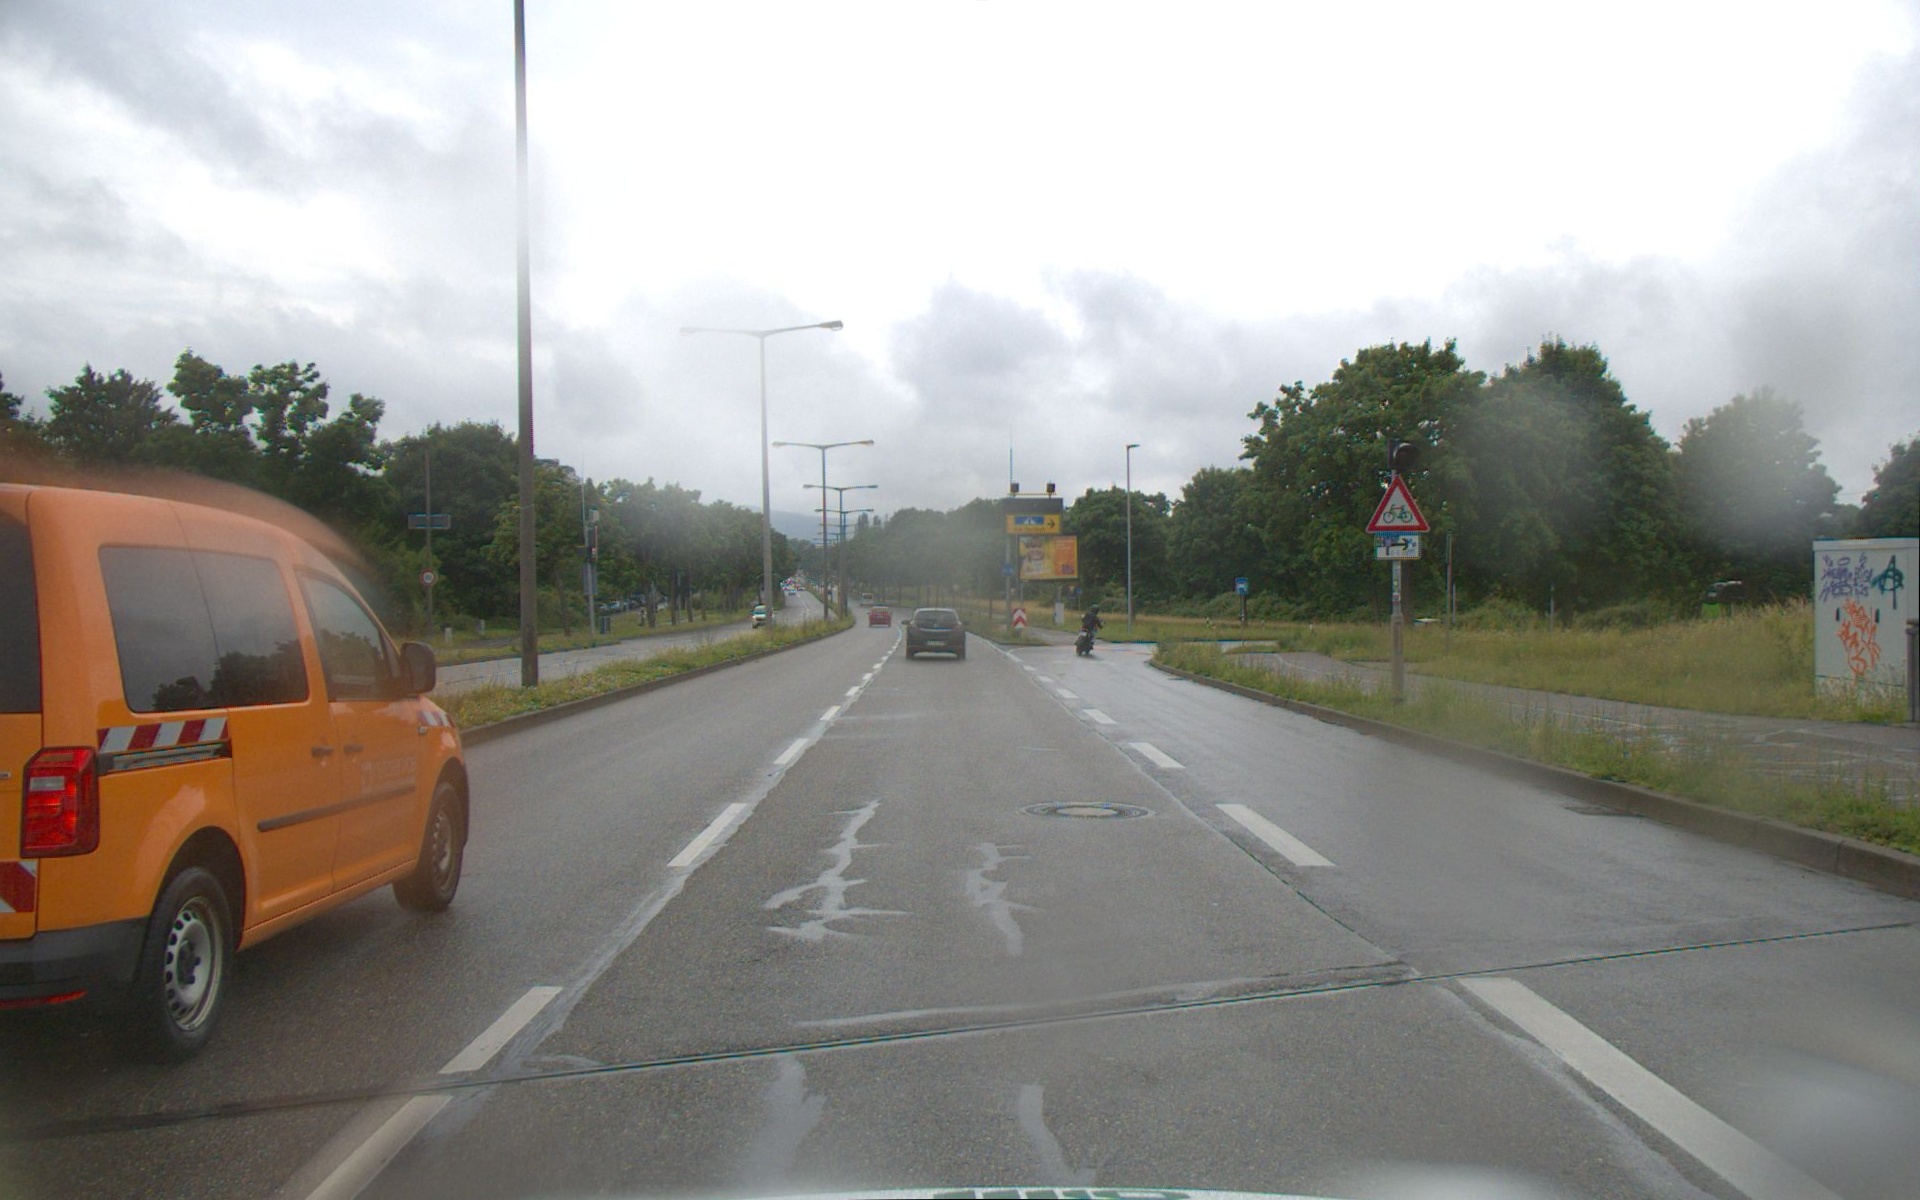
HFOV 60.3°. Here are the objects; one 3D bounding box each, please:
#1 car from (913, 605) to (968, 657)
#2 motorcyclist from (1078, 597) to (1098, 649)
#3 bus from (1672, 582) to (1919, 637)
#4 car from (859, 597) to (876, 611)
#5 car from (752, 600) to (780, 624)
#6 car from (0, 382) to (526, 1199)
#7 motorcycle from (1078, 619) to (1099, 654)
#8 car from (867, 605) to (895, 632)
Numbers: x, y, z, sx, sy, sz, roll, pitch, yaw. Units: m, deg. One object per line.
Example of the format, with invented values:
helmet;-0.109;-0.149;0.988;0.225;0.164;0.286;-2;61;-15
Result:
car;-0.583;0.844;47.000;1.434;1.352;3.756;0;0;-2
motorcyclist;4.329;0.762;55.861;0.588;1.719;0.861;0;0;8
bus;44.951;0.473;86.270;14.248;2.726;2.763;0;0;23
car;-14.391;0.642;256.370;2.467;2.088;5.287;-1;0;-6
car;-14.807;0.902;126.378;1.673;1.658;4.490;-3;0;-2
car;-3.158;0.505;6.514;1.699;2.054;4.847;0;-1;-1
motorcycle;4.337;1.232;55.882;0.588;1.112;1.733;0;0;8
car;-5.758;1.342;120.461;1.953;1.912;3.998;0;0;-2
